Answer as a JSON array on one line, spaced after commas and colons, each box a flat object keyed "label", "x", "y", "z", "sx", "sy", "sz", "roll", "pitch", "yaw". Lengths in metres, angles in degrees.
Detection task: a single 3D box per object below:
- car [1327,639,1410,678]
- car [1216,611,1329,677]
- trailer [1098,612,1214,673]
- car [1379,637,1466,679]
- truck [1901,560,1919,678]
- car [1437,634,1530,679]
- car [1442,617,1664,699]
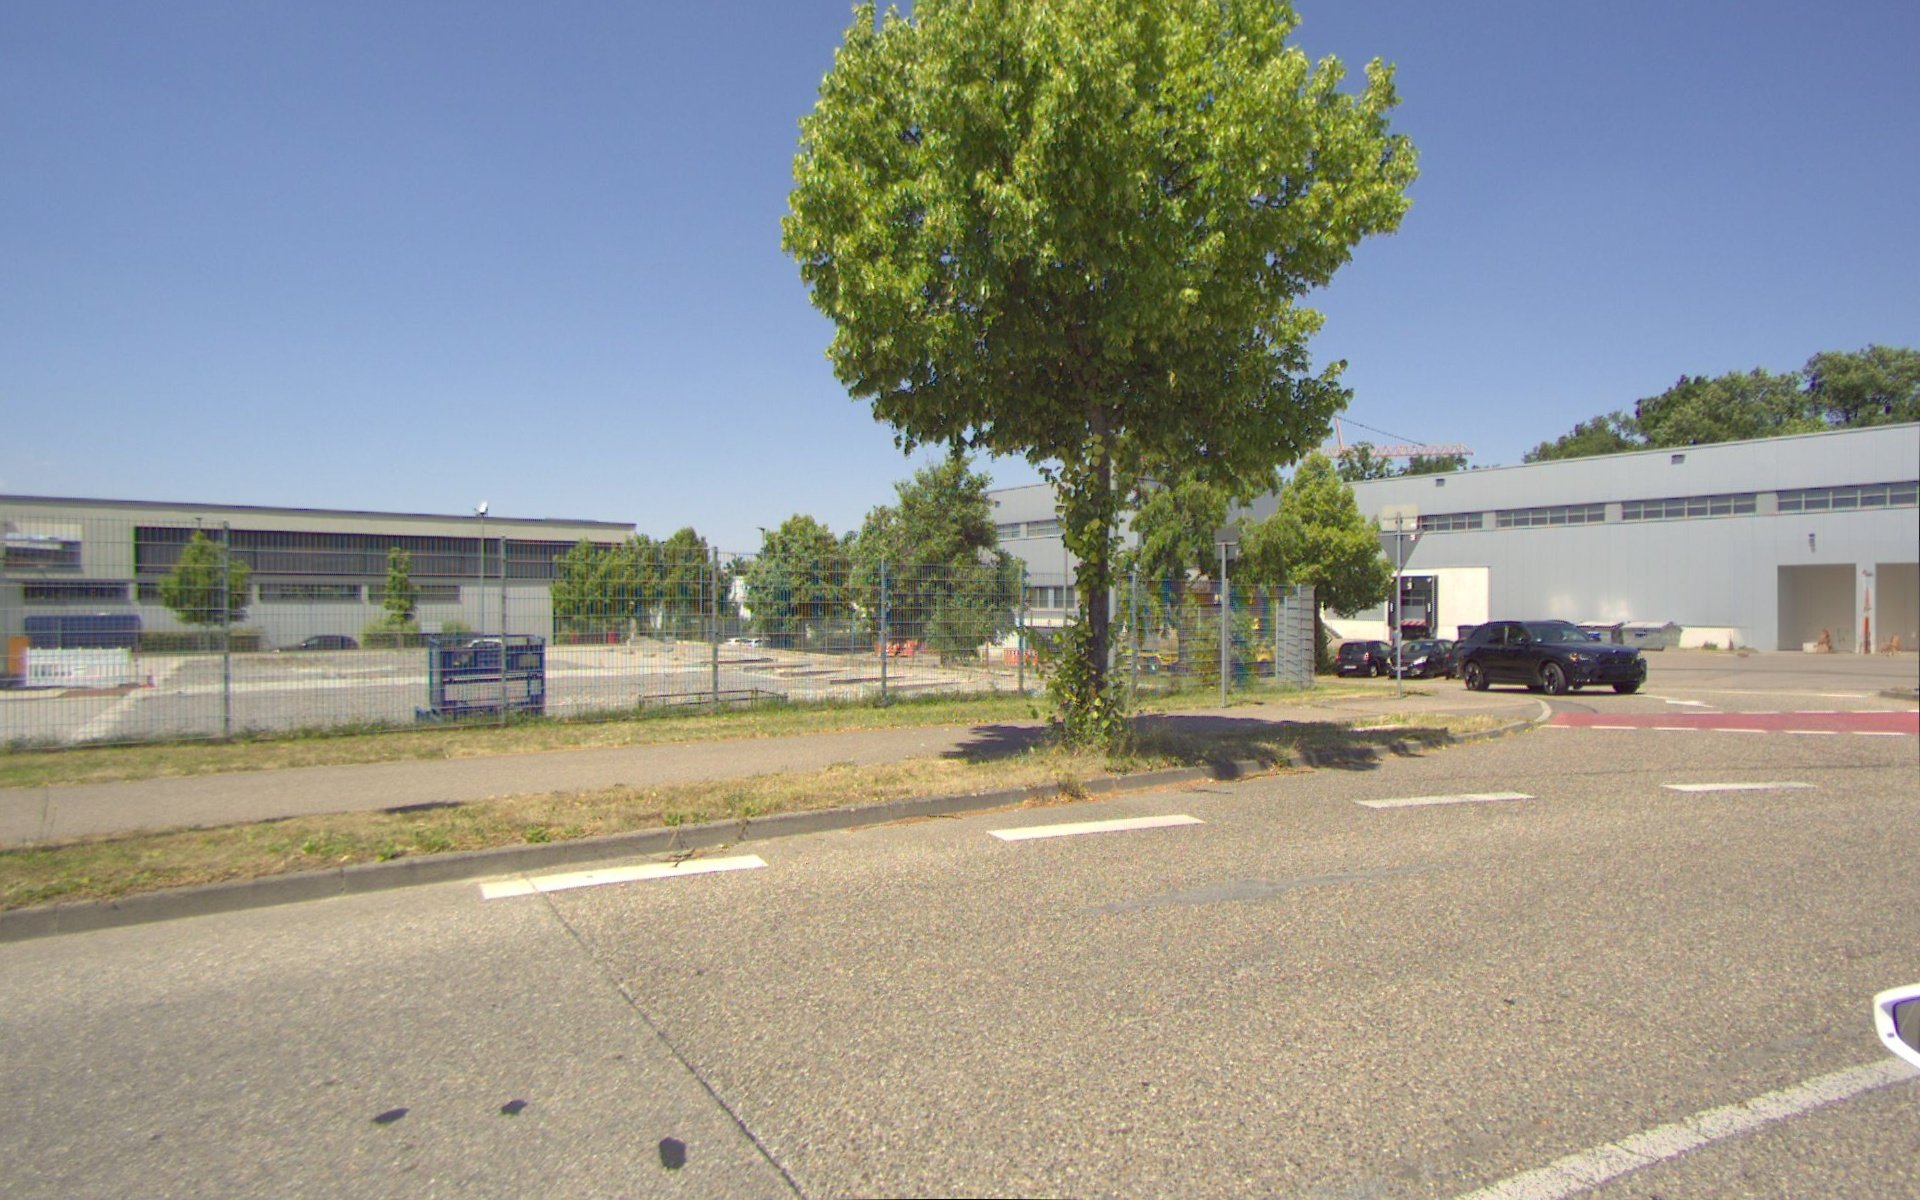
[{"label": "car", "x": 17.105, "y": 2.423, "z": 42.022, "sx": 3.581, "sy": 1.498, "sz": 1.611, "roll": 1, "pitch": -2, "yaw": -38}, {"label": "car", "x": 14.319, "y": 1.924, "z": 45.863, "sx": 5.744, "sy": 2.769, "sz": 1.979, "roll": -1, "pitch": 0, "yaw": -37}, {"label": "trailer", "x": 10.080, "y": 2.167, "z": 52.049, "sx": 2.642, "sy": 2.895, "sz": 5.459, "roll": -1, "pitch": -1, "yaw": -39}, {"label": "car", "x": 18.373, "y": 2.259, "z": 39.847, "sx": 3.749, "sy": 1.527, "sz": 1.574, "roll": 1, "pitch": -2, "yaw": -38}, {"label": "truck", "x": 29.004, "y": 0.369, "z": 28.445, "sx": 6.370, "sy": 3.177, "sz": 2.567, "roll": -2, "pitch": -2, "yaw": -40}, {"label": "car", "x": 19.917, "y": 2.109, "z": 38.172, "sx": 3.636, "sy": 1.482, "sz": 1.611, "roll": -1, "pitch": -1, "yaw": -36}, {"label": "car", "x": 13.395, "y": 1.255, "z": 23.084, "sx": 1.837, "sy": 1.656, "sz": 4.591, "roll": 2, "pitch": -2, "yaw": -10}]
